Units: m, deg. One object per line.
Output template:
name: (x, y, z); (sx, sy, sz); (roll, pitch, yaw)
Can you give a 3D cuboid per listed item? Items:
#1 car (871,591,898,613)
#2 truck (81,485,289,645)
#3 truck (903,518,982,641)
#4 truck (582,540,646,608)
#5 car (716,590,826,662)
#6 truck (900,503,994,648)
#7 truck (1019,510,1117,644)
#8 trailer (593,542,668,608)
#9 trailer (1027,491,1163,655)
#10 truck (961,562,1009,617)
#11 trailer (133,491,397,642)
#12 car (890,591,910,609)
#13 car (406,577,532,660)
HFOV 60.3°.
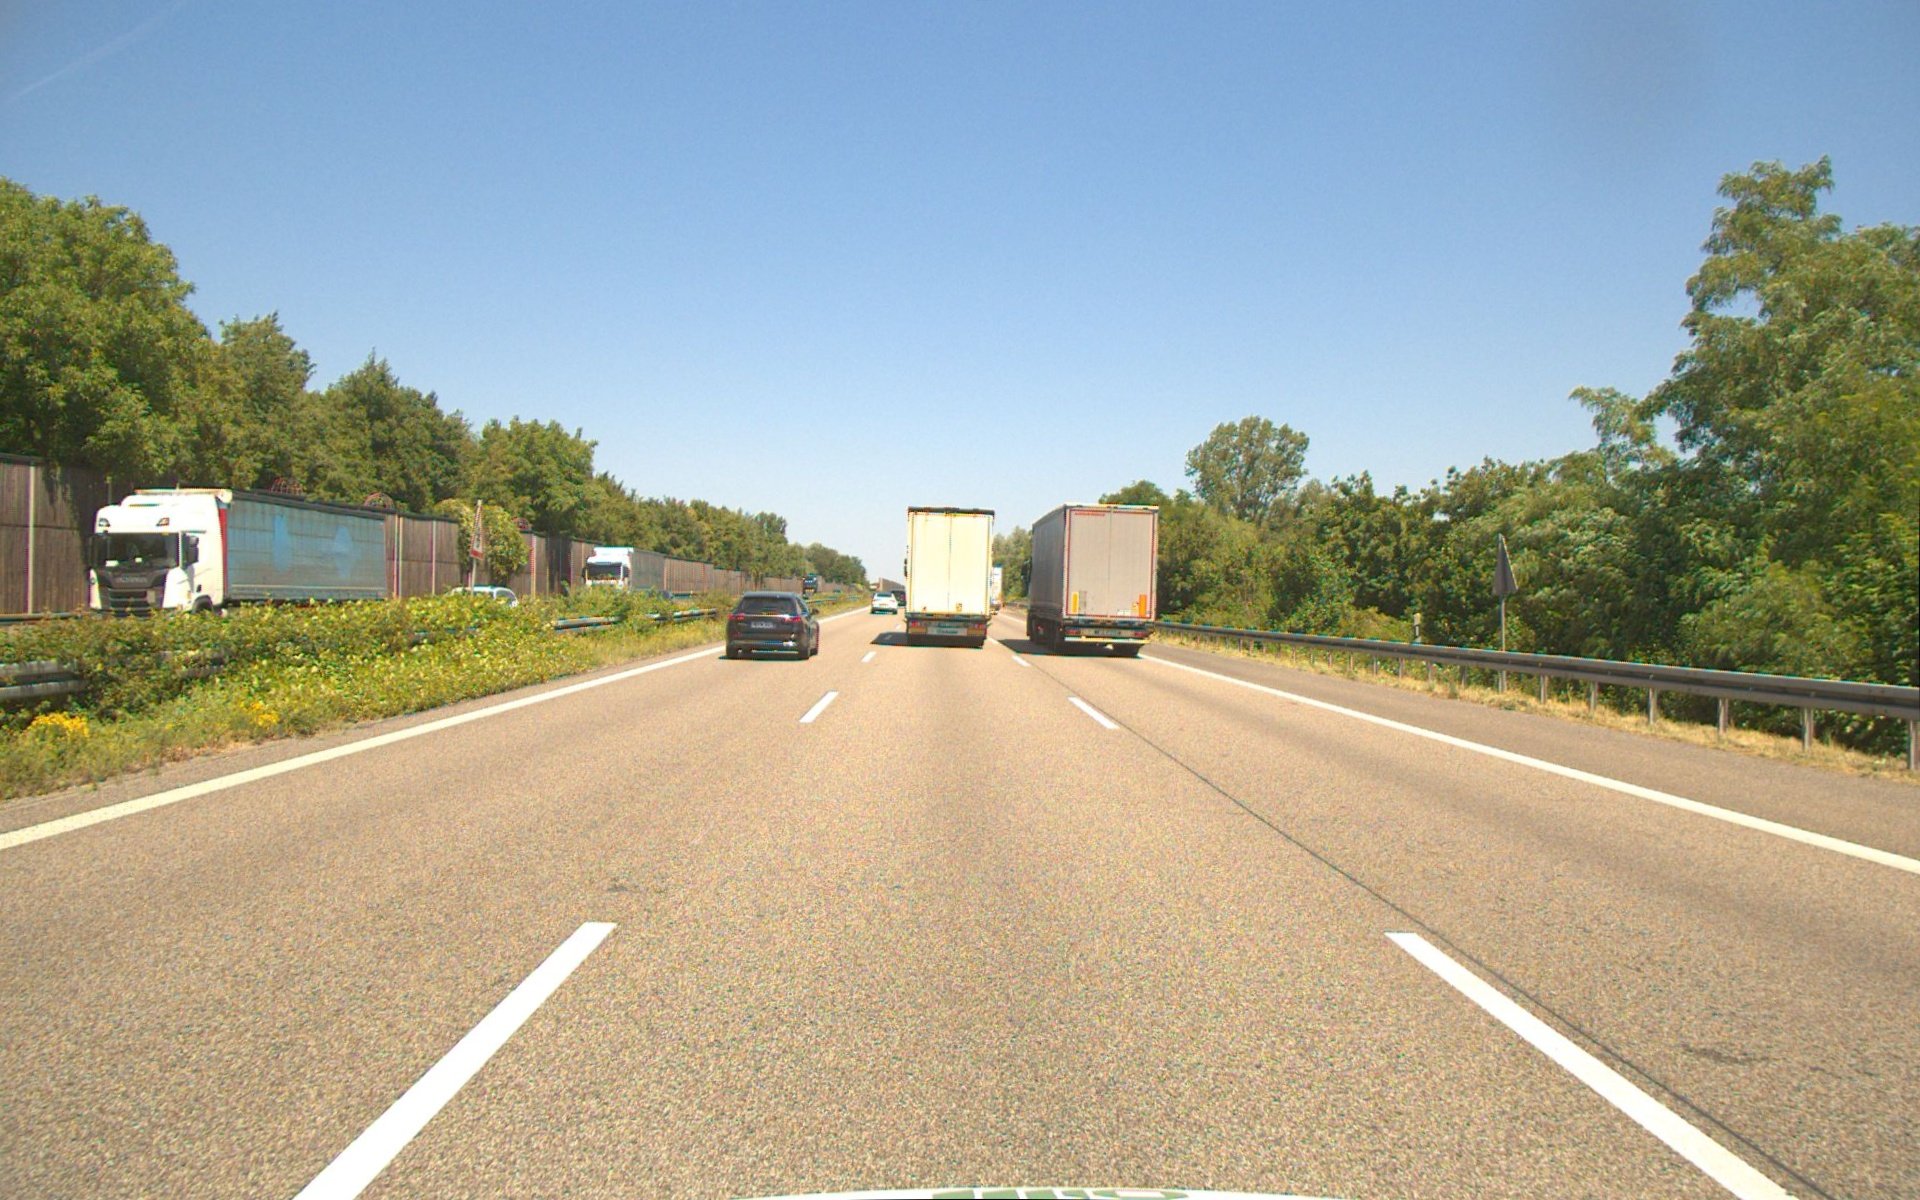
car: (-5.276, 0.136, 115.677); (1.818, 1.512, 3.998); (0, 0, -2)
truck: (-21.330, -0.909, 45.979); (2.702, 4.092, 6.732); (1, 0, -2)
truck: (-0.704, -0.709, 60.220); (2.673, 4.157, 7.274); (1, 0, -2)
truck: (-22.498, -1.642, 107.870); (2.776, 4.256, 7.140); (1, 0, -2)
car: (-4.316, 0.544, 38.561); (1.904, 1.533, 5.821); (0, 0, 0)
truck: (-0.562, -0.710, 54.552); (2.652, 4.157, 13.469); (1, 0, -2)
truck: (3.642, -0.748, 57.451); (2.637, 4.289, 7.835); (1, 0, -2)
trailer: (-22.651, -1.643, 114.601); (2.851, 4.256, 13.307); (1, 0, -2)
trailer: (3.837, -0.726, 50.396); (2.649, 4.289, 13.207); (1, 0, -2)
truck: (2.084, -0.935, 142.440); (3.307, 4.378, 11.444); (3, 0, -3)
trailer: (-21.499, -0.925, 52.521); (2.679, 4.092, 14.301); (1, 0, -2)
car: (-5.614, 0.017, 153.423); (1.818, 1.645, 3.998); (0, 0, -3)
car: (-13.243, 0.463, 44.888); (1.953, 2.049, 4.894); (2, 0, -1)
